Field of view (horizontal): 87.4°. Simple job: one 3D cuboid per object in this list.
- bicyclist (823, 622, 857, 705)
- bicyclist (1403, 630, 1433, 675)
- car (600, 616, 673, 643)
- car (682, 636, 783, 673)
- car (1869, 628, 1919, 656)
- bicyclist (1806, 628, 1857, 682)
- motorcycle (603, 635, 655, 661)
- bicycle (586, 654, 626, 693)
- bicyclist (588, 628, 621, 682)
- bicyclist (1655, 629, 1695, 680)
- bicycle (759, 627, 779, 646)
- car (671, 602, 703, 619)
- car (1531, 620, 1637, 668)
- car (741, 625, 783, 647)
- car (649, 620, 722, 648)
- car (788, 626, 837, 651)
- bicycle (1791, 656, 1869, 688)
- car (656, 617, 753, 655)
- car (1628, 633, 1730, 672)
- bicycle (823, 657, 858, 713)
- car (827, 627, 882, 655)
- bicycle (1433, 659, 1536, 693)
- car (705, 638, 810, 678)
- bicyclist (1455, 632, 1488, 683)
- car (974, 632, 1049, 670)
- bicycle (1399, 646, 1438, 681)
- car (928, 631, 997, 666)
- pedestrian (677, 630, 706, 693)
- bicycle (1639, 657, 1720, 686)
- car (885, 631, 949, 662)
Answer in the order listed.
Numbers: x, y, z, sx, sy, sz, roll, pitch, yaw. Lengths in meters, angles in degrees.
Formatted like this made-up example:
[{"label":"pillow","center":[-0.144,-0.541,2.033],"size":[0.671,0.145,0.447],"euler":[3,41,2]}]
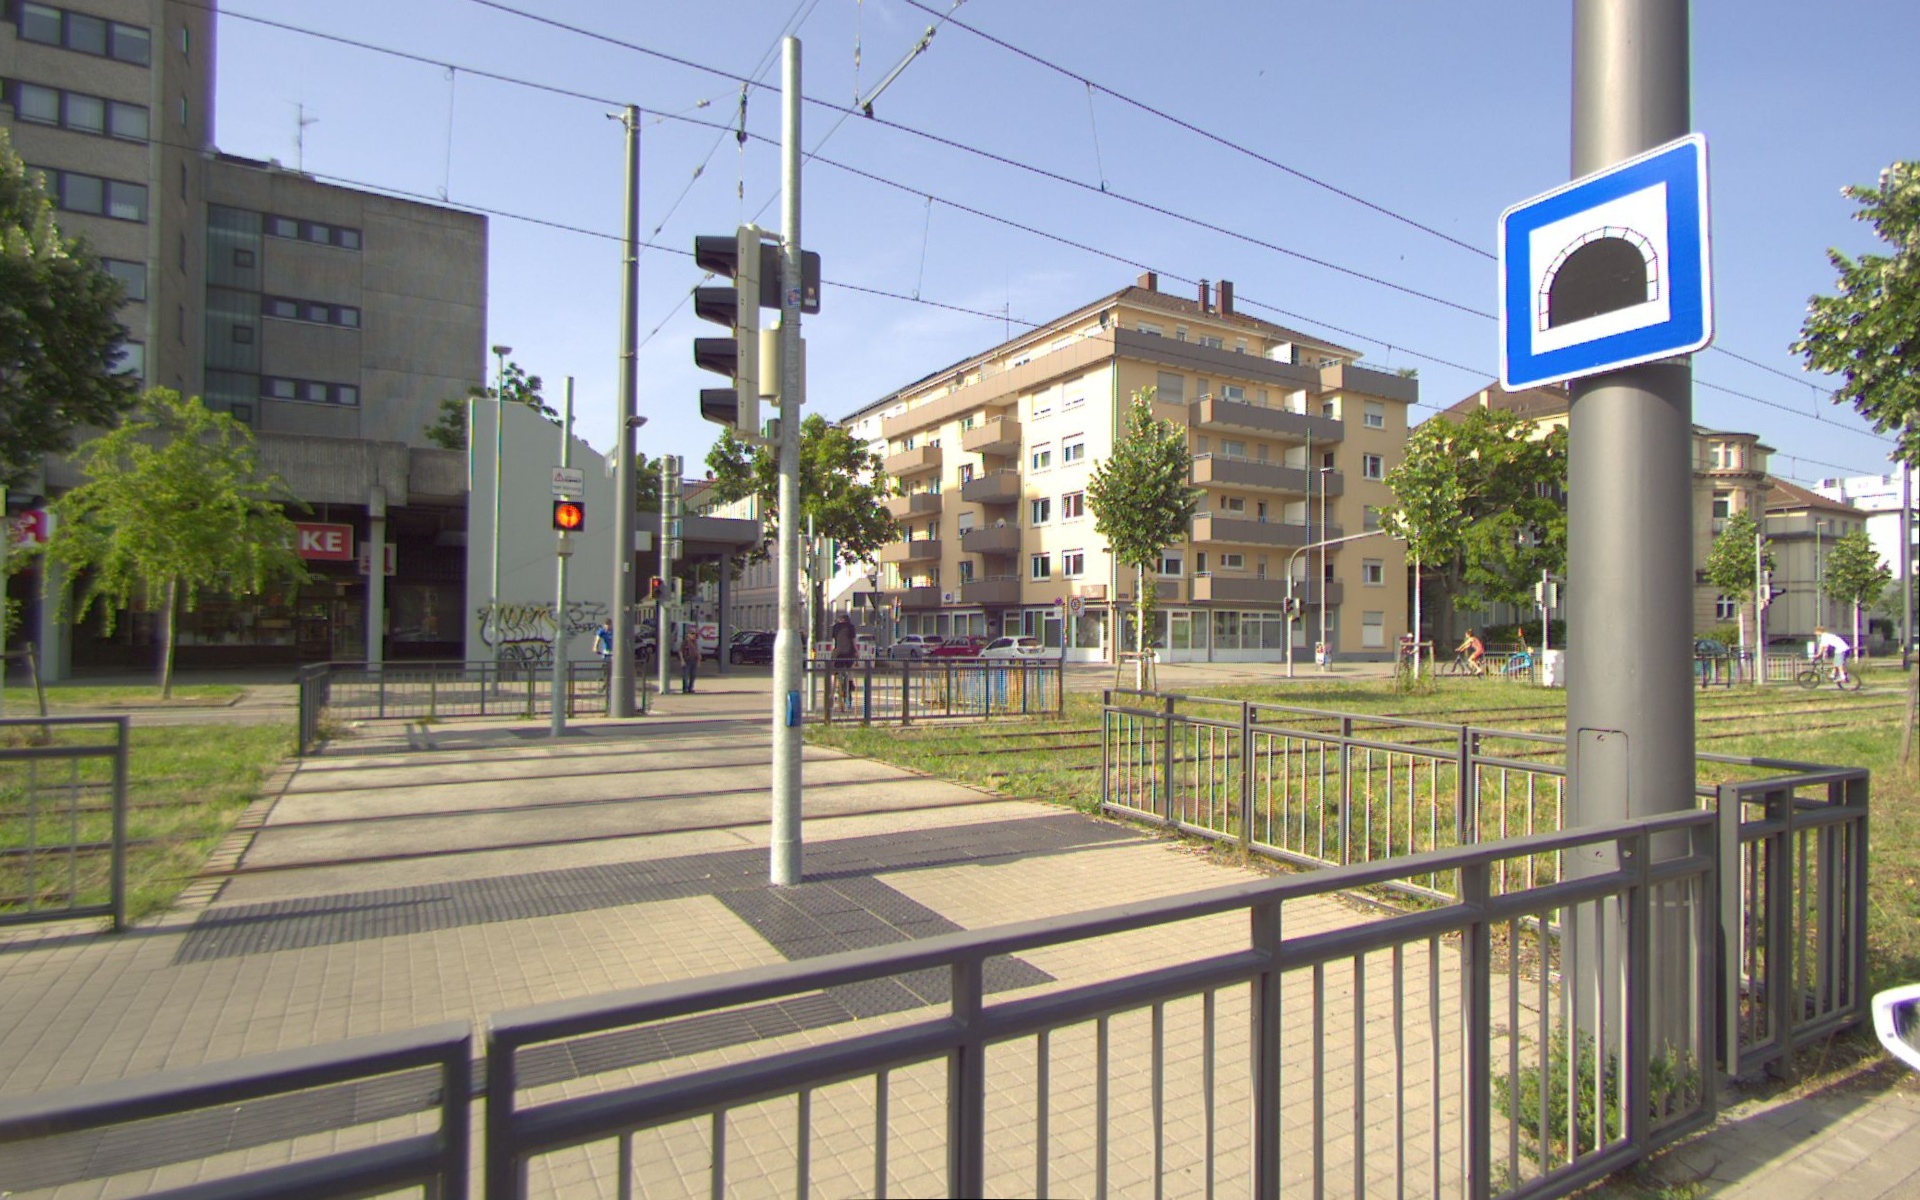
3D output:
[{"label":"bicyclist","center":[-2.160,1.134,17.965],"size":[0.536,1.413,0.972],"euler":[-1,-3,-9]},{"label":"bicyclist","center":[18.764,2.140,41.139],"size":[1.073,1.829,0.665],"euler":[2,-2,-35]},{"label":"car","center":[-23.208,2.148,72.144],"size":[4.714,1.843,1.984],"euler":[2,-2,-30]},{"label":"car","center":[-10.908,2.603,48.274],"size":[4.335,1.650,1.898],"euler":[2,0,-34]},{"label":"car","center":[77.471,3.518,82.902],"size":[5.206,2.040,2.237],"euler":[4,-1,-32]},{"label":"bicyclist","center":[24.496,1.528,28.253],"size":[0.790,1.459,0.687],"euler":[2,0,-2]},{"label":"motorcycle","center":[-13.477,1.945,40.926],"size":[1.923,1.031,0.490],"euler":[1,-2,-30]},{"label":"bicycle","center":[-9.676,1.993,27.477],"size":[0.673,1.004,1.666],"euler":[0,-1,-7]},{"label":"bicyclist","center":[-9.705,1.492,27.435],"size":[0.673,1.459,1.023],"euler":[1,-1,-9]},{"label":"bicyclist","center":[21.717,1.652,30.506],"size":[0.971,1.520,0.618],"euler":[-1,-2,37]},{"label":"bicycle","center":[-10.860,2.065,57.132],"size":[0.697,1.012,2.335],"euler":[1,-2,-21]},{"label":"car","center":[-27.891,1.095,102.693],"size":[1.980,1.658,3.962],"euler":[2,-2,-34]},{"label":"car","center":[28.143,1.955,45.261],"size":[5.245,2.040,1.983],"euler":[2,-2,-33]},{"label":"car","center":[-15.236,2.780,77.260],"size":[1.797,1.625,3.915],"euler":[2,-2,-34]},{"label":"car","center":[-16.764,2.066,61.338],"size":[3.953,1.639,1.984],"euler":[2,-2,-30]},{"label":"car","center":[-10.174,2.649,69.107],"size":[1.797,1.625,3.915],"euler":[2,-2,-34]},{"label":"bicycle","center":[24.470,2.023,28.259],"size":[1.572,0.808,0.720],"euler":[2,0,-2]},{"label":"car","center":[-14.017,1.999,55.246],"size":[4.777,1.994,1.984],"euler":[2,-2,-31]},{"label":"car","center":[29.982,2.156,41.858],"size":[4.350,1.533,1.983],"euler":[2,-2,-32]},{"label":"bicycle","center":[-2.152,1.506,17.955],"size":[0.547,0.947,1.611],"euler":[-1,-4,-9]},{"label":"car","center":[-6.543,2.515,62.112],"size":[1.797,1.625,3.915],"euler":[2,-2,-34]},{"label":"bicycle","center":[17.201,2.478,33.006],"size":[2.946,0.978,0.898],"euler":[0,-2,32]},{"label":"car","center":[-9.337,2.660,46.427],"size":[4.335,1.650,1.898],"euler":[2,0,-34]},{"label":"bicyclist","center":[16.919,1.882,33.222],"size":[0.877,1.650,0.890],"euler":[0,-2,32]},{"label":"car","center":[2.390,2.346,47.076],"size":[1.690,1.604,3.602],"euler":[-2,0,-33]},{"label":"bicycle","center":[18.777,2.594,41.147],"size":[1.740,1.364,0.690],"euler":[2,-2,-35]},{"label":"car","center":[0.107,2.432,51.049],"size":[1.755,1.711,3.766],"euler":[1,-2,-33]},{"label":"pedestrian","center":[-7.384,1.681,27.657],"size":[0.637,1.713,0.656],"euler":[1,-1,-27]},{"label":"bicycle","center":[21.785,2.155,30.450],"size":[1.971,0.804,0.627],"euler":[-1,-2,37]},{"label":"car","center":[-2.400,2.535,55.187],"size":[1.797,1.625,3.916],"euler":[1,-2,-33]}]
